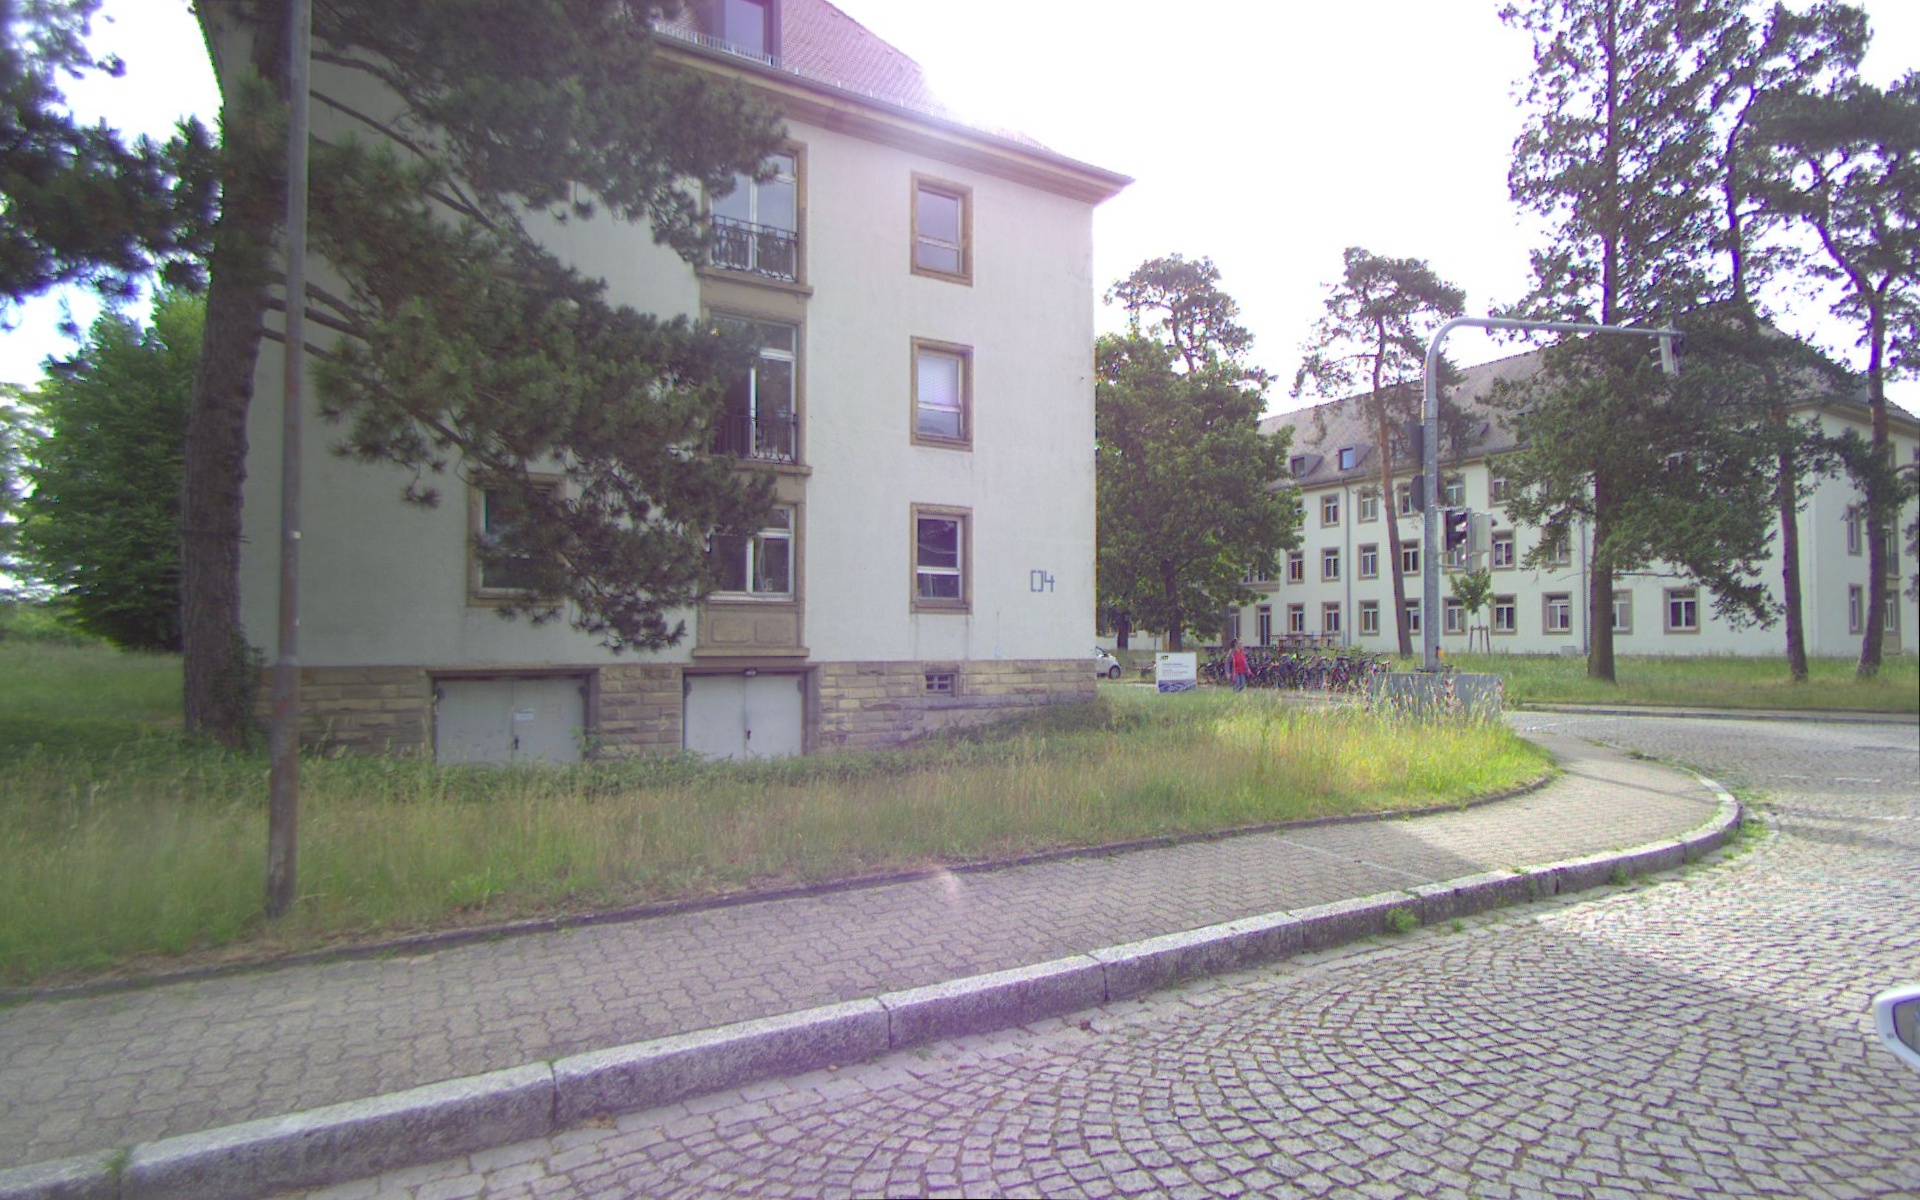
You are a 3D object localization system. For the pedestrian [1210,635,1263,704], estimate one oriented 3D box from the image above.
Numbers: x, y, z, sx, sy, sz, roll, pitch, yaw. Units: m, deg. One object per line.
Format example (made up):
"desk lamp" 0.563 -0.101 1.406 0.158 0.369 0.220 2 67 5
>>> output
"pedestrian" 6.914 1.715 25.126 0.928 1.690 0.857 1 -2 -27

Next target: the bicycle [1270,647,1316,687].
"bicycle" 11.000 2.210 33.160 1.677 1.300 0.446 2 -3 -32

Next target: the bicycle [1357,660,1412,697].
"bicycle" 12.029 2.222 28.498 0.447 1.009 1.453 1 -3 -29

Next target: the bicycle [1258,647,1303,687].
"bicycle" 10.714 2.215 33.575 1.677 1.300 0.446 2 -3 -32

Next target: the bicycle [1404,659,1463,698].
"bicycle" 12.806 2.107 27.191 0.447 1.009 1.453 1 -3 -29

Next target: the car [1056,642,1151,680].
"car" 6.283 2.645 43.901 3.851 1.576 1.831 2 -3 -30

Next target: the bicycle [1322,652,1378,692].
"bicycle" 12.089 2.228 31.140 1.932 1.193 0.572 2 -3 -32

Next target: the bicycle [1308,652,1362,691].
"bicycle" 11.825 2.237 31.662 1.909 1.193 0.524 2 -3 -32

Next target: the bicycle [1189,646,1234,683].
"bicycle" 9.108 2.313 36.292 1.807 1.300 0.446 2 -3 -32

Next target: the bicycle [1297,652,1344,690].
"bicycle" 11.523 2.256 32.076 1.677 1.193 0.446 2 -3 -32

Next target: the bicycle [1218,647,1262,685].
"bicycle" 9.769 2.291 35.035 1.677 1.300 0.446 2 -3 -32

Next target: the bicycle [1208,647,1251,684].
"bicycle" 9.517 2.297 35.450 1.677 1.300 0.446 2 -3 -32

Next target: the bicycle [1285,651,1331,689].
"bicycle" 11.264 2.249 32.486 1.677 1.193 0.446 2 -3 -32

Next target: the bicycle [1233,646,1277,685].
"bicycle" 10.122 2.229 34.474 1.677 1.300 0.446 2 -3 -32

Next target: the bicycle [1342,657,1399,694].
"bicycle" 12.502 2.288 30.578 1.974 1.092 0.572 2 -3 -32

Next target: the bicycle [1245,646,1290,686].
"bicycle" 10.421 2.221 33.999 1.677 1.300 0.446 2 -3 -32

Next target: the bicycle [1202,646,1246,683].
"bicycle" 9.450 2.309 35.959 1.765 1.300 0.440 2 -3 -32
